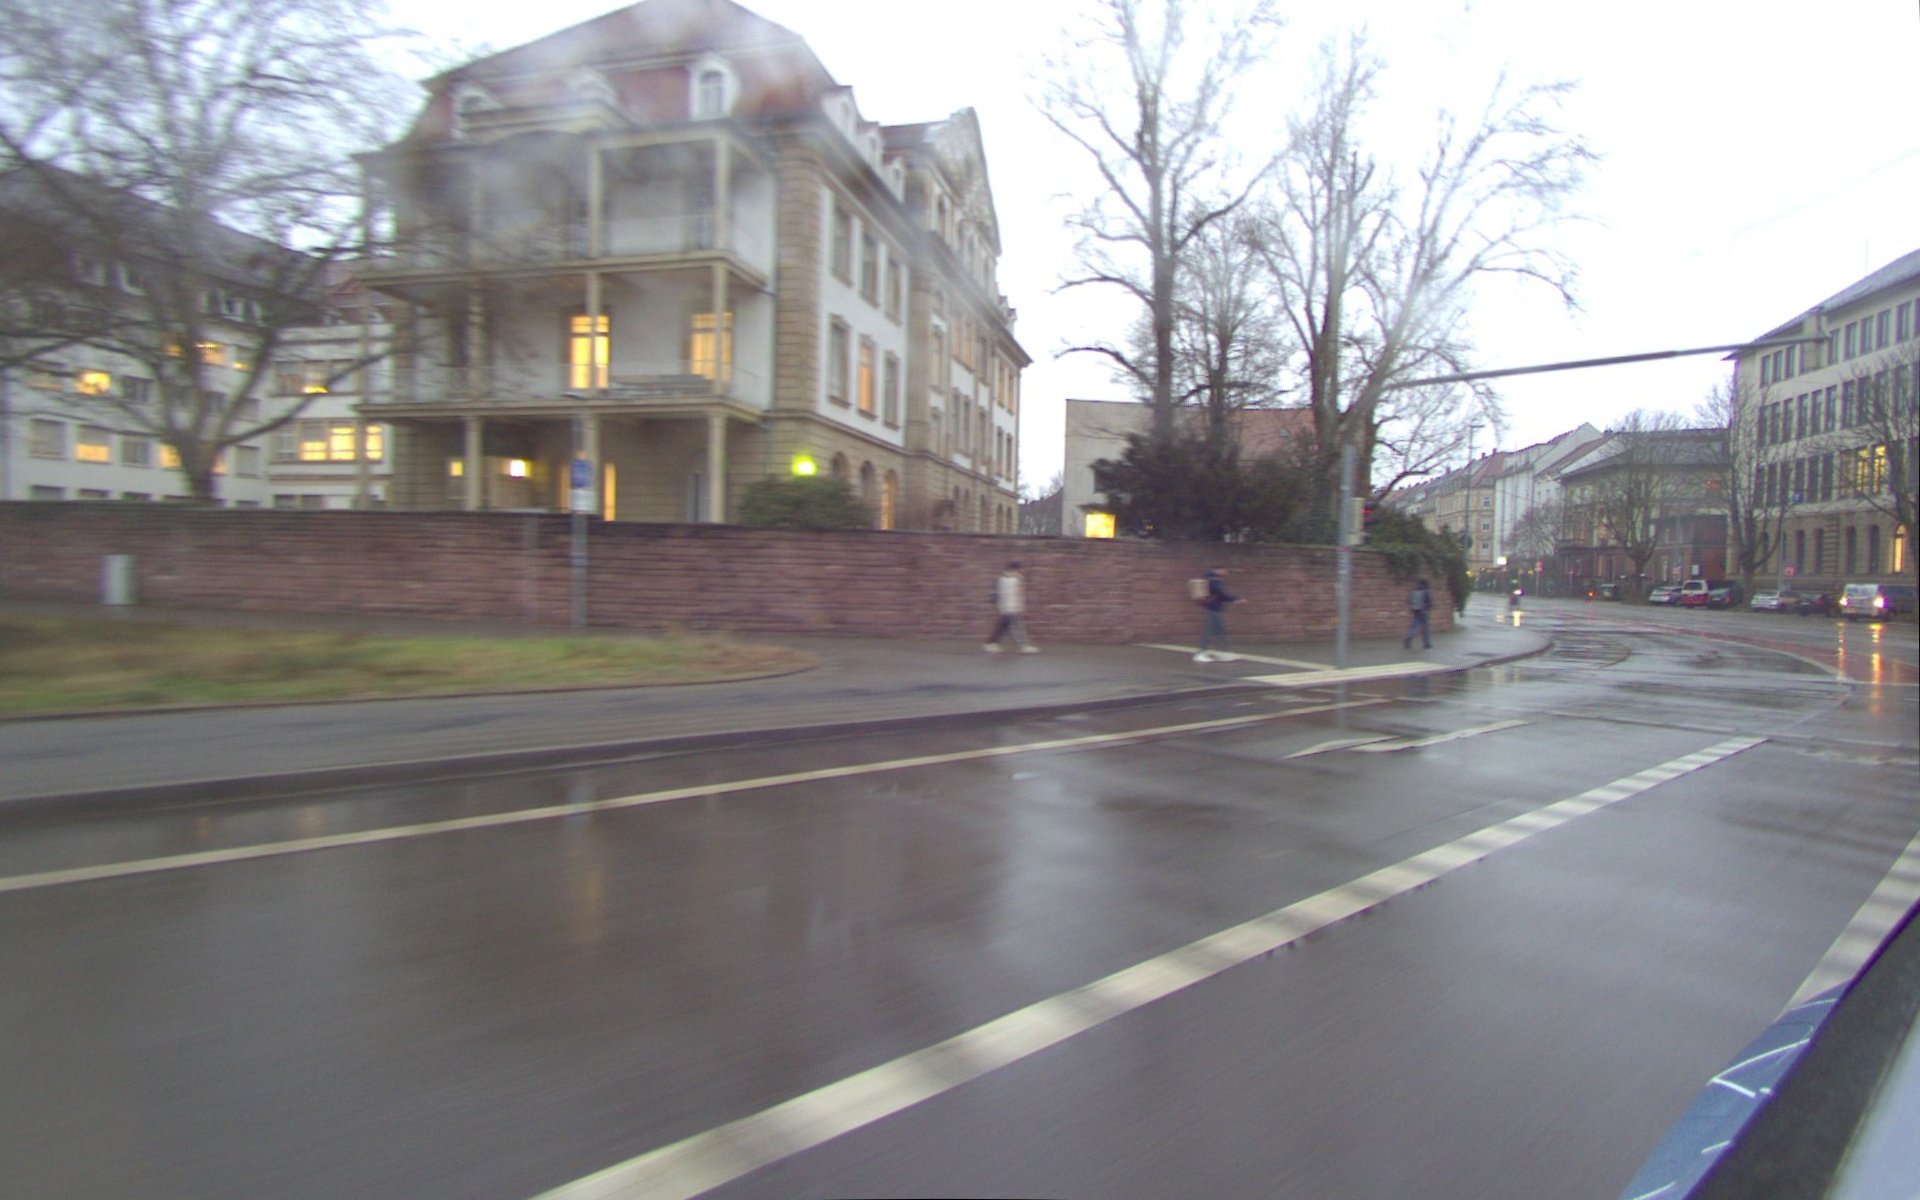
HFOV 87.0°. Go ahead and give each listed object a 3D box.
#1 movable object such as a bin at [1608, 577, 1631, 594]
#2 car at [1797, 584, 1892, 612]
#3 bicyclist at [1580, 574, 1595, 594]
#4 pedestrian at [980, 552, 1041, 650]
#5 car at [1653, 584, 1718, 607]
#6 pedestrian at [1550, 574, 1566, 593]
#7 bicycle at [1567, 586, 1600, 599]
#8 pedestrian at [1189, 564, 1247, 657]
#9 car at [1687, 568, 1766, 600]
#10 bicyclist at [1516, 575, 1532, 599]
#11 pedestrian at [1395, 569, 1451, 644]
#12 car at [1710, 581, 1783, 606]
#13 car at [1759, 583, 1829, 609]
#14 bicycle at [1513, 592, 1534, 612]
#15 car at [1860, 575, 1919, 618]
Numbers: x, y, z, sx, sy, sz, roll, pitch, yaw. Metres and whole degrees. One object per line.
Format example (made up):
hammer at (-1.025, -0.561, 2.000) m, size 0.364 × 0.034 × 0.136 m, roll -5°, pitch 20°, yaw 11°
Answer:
movable object such as a bin at (57.166, -1.257, 87.779) m, size 0.966 × 1.482 × 1.347 m, roll -2°, pitch 2°, yaw -23°
car at (50.582, -0.126, 57.908) m, size 4.384 × 1.475 × 1.804 m, roll -1°, pitch 2°, yaw -12°
bicyclist at (50.200, -1.264, 80.991) m, size 0.846 × 1.615 × 0.776 m, roll 0°, pitch 2°, yaw 19°
pedestrian at (0.917, 0.004, 18.312) m, size 0.947 × 1.696 × 0.777 m, roll 2°, pitch 2°, yaw 11°
car at (54.889, -0.374, 76.579) m, size 4.097 × 1.610 × 1.779 m, roll -2°, pitch 2°, yaw -15°
pedestrian at (57.581, -1.583, 97.442) m, size 0.905 × 1.724 × 0.949 m, roll -1°, pitch 1°, yaw -8°
bicycle at (49.992, -0.581, 81.150) m, size 2.095 × 0.956 × 0.939 m, roll 0°, pitch 2°, yaw 19°
pedestrian at (4.873, 0.180, 19.106) m, size 0.788 × 1.696 × 0.720 m, roll 4°, pitch 3°, yaw 36°
car at (53.508, -1.145, 70.671) m, size 4.526 × 2.079 × 1.970 m, roll -2°, pitch 2°, yaw -13°
bicyclist at (32.695, -0.747, 58.634) m, size 0.708 × 1.359 × 0.715 m, roll -1°, pitch 1°, yaw 21°
pedestrian at (11.064, 0.139, 24.180) m, size 0.805 × 1.705 × 1.138 m, roll 4°, pitch 3°, yaw 44°
car at (52.623, -0.455, 67.731) m, size 3.894 × 1.558 × 1.828 m, roll -2°, pitch 2°, yaw -13°
car at (51.747, -0.243, 62.794) m, size 3.747 × 1.475 × 1.641 m, roll -2°, pitch 2°, yaw -19°
bicycle at (32.593, 0.092, 58.556) m, size 0.715 × 1.104 × 2.269 m, roll 0°, pitch 0°, yaw 21°
car at (48.869, -0.228, 52.152) m, size 4.704 × 2.058 × 1.916 m, roll -2°, pitch 2°, yaw -23°
